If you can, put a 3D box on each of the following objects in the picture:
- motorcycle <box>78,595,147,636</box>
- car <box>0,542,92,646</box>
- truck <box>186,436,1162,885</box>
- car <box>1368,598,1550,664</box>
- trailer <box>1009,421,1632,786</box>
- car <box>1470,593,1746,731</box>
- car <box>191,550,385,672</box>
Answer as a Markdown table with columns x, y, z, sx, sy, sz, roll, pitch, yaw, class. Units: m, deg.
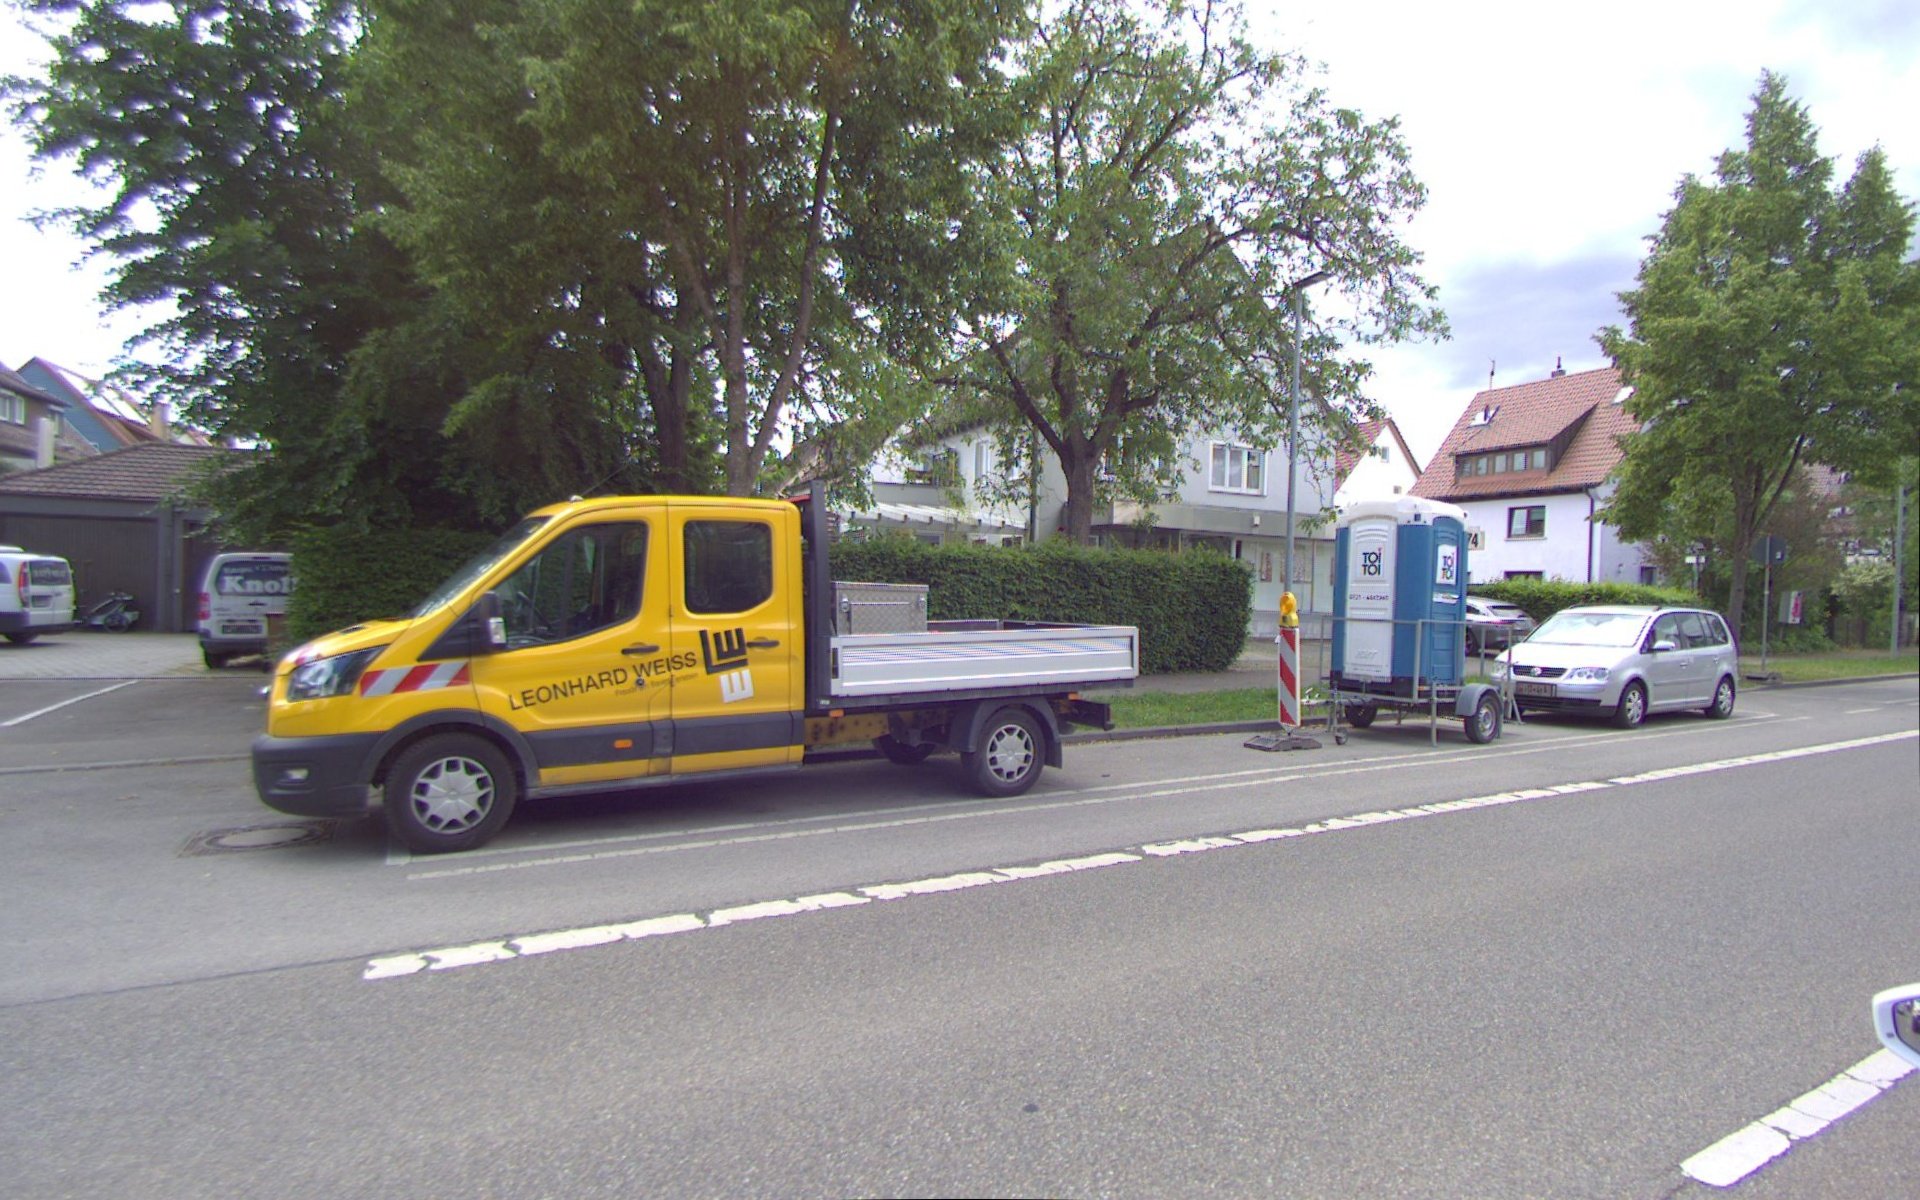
| x | y | z | sx | sy | sz | roll | pitch | yaw | class |
| --- | --- | --- | --- | --- | --- | --- | --- | --- | --- |
| -20.585 | 0.369 | 24.419 | 1.130 | 0.979 | 0.634 | 1 | 0 | -20 | motorcycle |
| -20.762 | -0.152 | 20.390 | 4.255 | 2.040 | 1.994 | 1 | 0 | -15 | car |
| -1.693 | 0.353 | 7.710 | 6.382 | 2.317 | 2.286 | 1 | 0 | -28 | truck |
| 12.906 | 0.746 | 26.253 | 1.775 | 1.452 | 4.068 | 0 | 2 | -24 | car |
| 4.113 | 0.073 | 10.947 | 6.922 | 3.002 | 2.363 | 1 | 0 | -28 | trailer |
| 9.340 | 0.826 | 14.393 | 4.178 | 1.706 | 1.680 | 2 | 0 | -32 | car |
| -11.284 | 0.179 | 17.182 | 1.893 | 1.818 | 3.980 | 1 | 0 | -21 | car |
